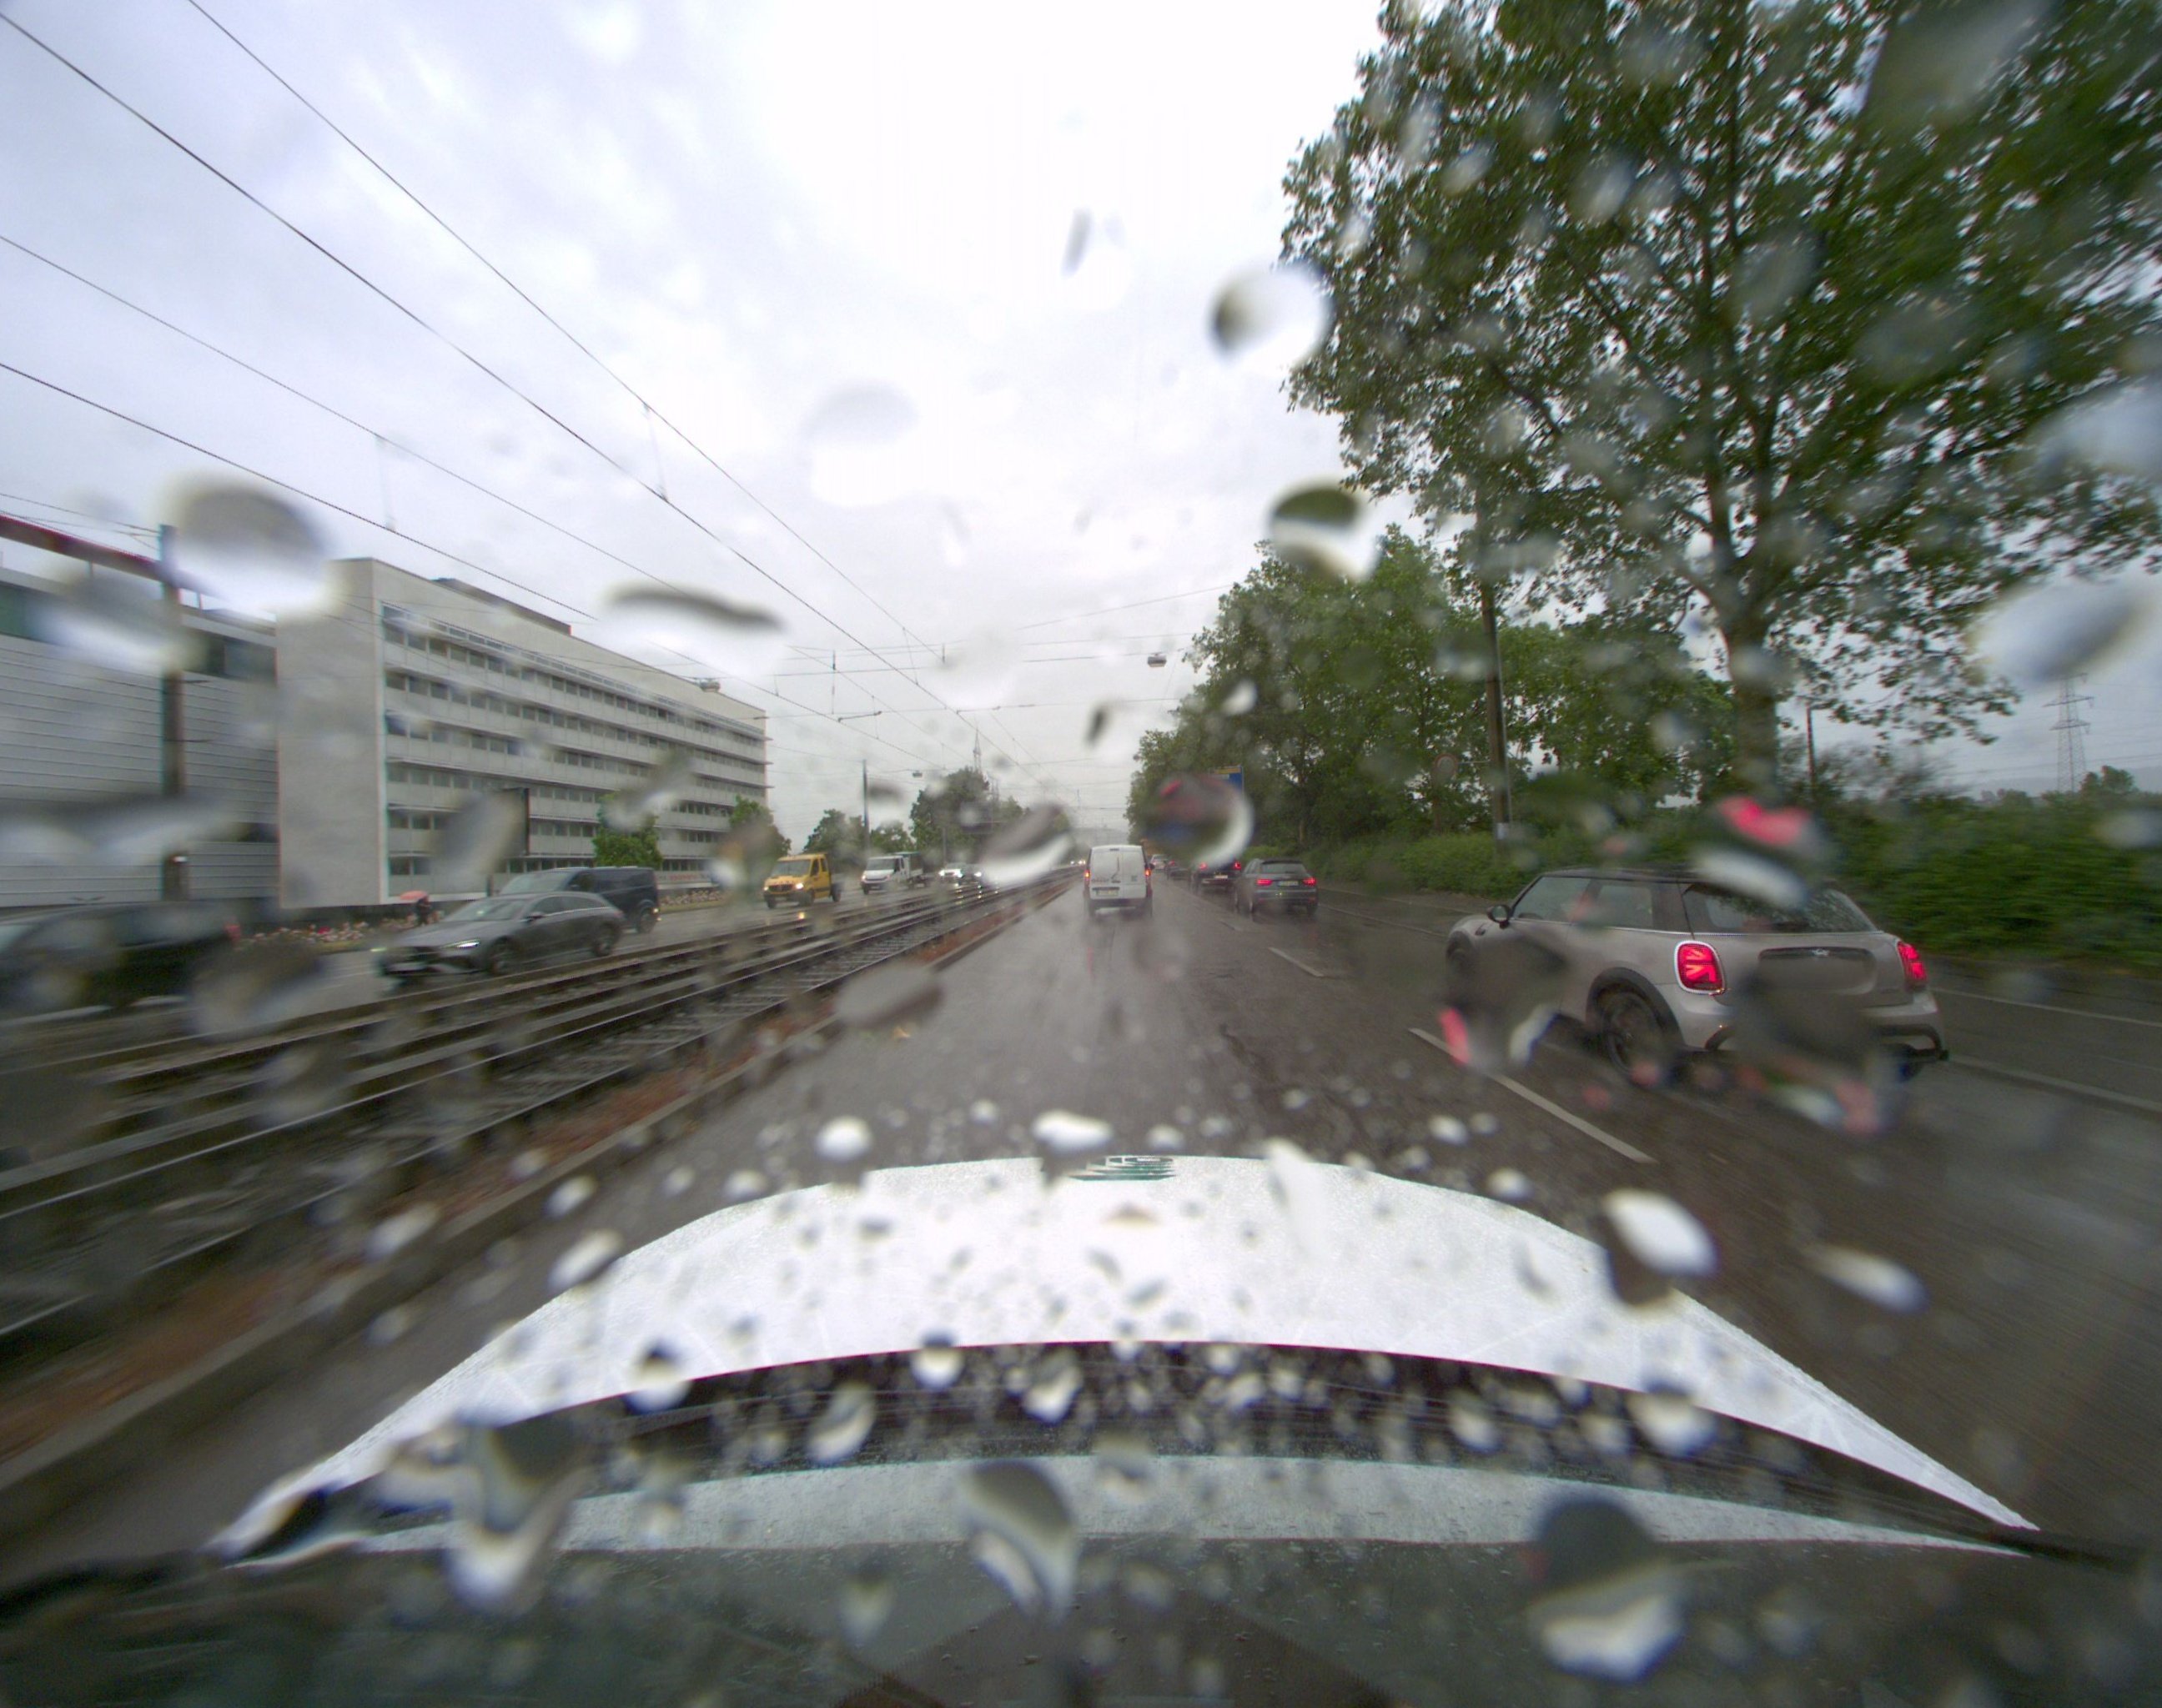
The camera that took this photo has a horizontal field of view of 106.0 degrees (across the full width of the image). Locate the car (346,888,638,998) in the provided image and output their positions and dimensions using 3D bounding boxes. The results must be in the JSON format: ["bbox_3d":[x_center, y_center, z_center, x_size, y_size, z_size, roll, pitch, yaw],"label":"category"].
[{"bbox_3d":[-10.755,1.538,15.440,1.850,1.494,4.694,-3,-1,3],"label":"car"}]

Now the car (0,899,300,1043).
[{"bbox_3d":[-14.376,1.614,11.468,1.851,1.617,4.909,-3,-1,2],"label":"car"}]

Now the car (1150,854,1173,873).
[{"bbox_3d":[6.640,0.769,67.480,1.810,1.414,3.782,-1,1,4],"label":"car"}]

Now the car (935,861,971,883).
[{"bbox_3d":[-10.452,1.473,66.975,1.762,1.682,4.696,0,0,6],"label":"car"}]

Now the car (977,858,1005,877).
[{"bbox_3d":[-9.356,1.390,85.240,1.985,1.721,4.886,-3,0,3],"label":"car"}]

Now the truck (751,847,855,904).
[{"bbox_3d":[-12.851,0.944,38.204,2.215,2.461,6.078,0,0,7],"label":"truck"}]

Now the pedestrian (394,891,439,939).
[{"bbox_3d":[-25.768,2.341,31.591,0.818,1.763,1.051,0,-1,5],"label":"pedestrian"}]

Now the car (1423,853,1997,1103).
[{"bbox_3d":[4.424,0.735,6.618,1.784,1.414,3.855,0,-1,2],"label":"car"}]

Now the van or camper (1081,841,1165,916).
[{"bbox_3d":[1.042,0.558,21.678,1.987,1.784,4.001,-1,1,1],"label":"van or camper"}]

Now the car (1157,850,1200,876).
[{"bbox_3d":[5.651,0.494,47.703,1.814,1.414,3.773,-1,1,-4],"label":"car"}]

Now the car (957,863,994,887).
[{"bbox_3d":[-7.683,1.498,59.740,1.811,1.623,4.540,-2,0,3],"label":"car"}]

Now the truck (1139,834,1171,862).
[{"bbox_3d":[7.930,-0.644,87.997,3.100,2.773,6.334,-2,0,3],"label":"truck"}]

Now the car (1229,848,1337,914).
[{"bbox_3d":[5.228,0.633,21.636,1.960,1.528,3.993,-1,1,2],"label":"car"}]

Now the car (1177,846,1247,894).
[{"bbox_3d":[5.167,0.577,32.619,1.894,1.716,4.723,-1,1,-2],"label":"car"}]

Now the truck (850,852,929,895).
[{"bbox_3d":[-11.712,1.120,50.542,2.422,2.458,7.232,0,0,7],"label":"truck"}]

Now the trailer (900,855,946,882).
[{"bbox_3d":[-10.934,0.976,56.758,2.108,1.792,3.843,0,0,6],"label":"trailer"}]

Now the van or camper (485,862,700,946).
[{"bbox_3d":[-13.581,1.283,23.228,2.293,2.013,5.694,0,0,5],"label":"van or camper"}]
